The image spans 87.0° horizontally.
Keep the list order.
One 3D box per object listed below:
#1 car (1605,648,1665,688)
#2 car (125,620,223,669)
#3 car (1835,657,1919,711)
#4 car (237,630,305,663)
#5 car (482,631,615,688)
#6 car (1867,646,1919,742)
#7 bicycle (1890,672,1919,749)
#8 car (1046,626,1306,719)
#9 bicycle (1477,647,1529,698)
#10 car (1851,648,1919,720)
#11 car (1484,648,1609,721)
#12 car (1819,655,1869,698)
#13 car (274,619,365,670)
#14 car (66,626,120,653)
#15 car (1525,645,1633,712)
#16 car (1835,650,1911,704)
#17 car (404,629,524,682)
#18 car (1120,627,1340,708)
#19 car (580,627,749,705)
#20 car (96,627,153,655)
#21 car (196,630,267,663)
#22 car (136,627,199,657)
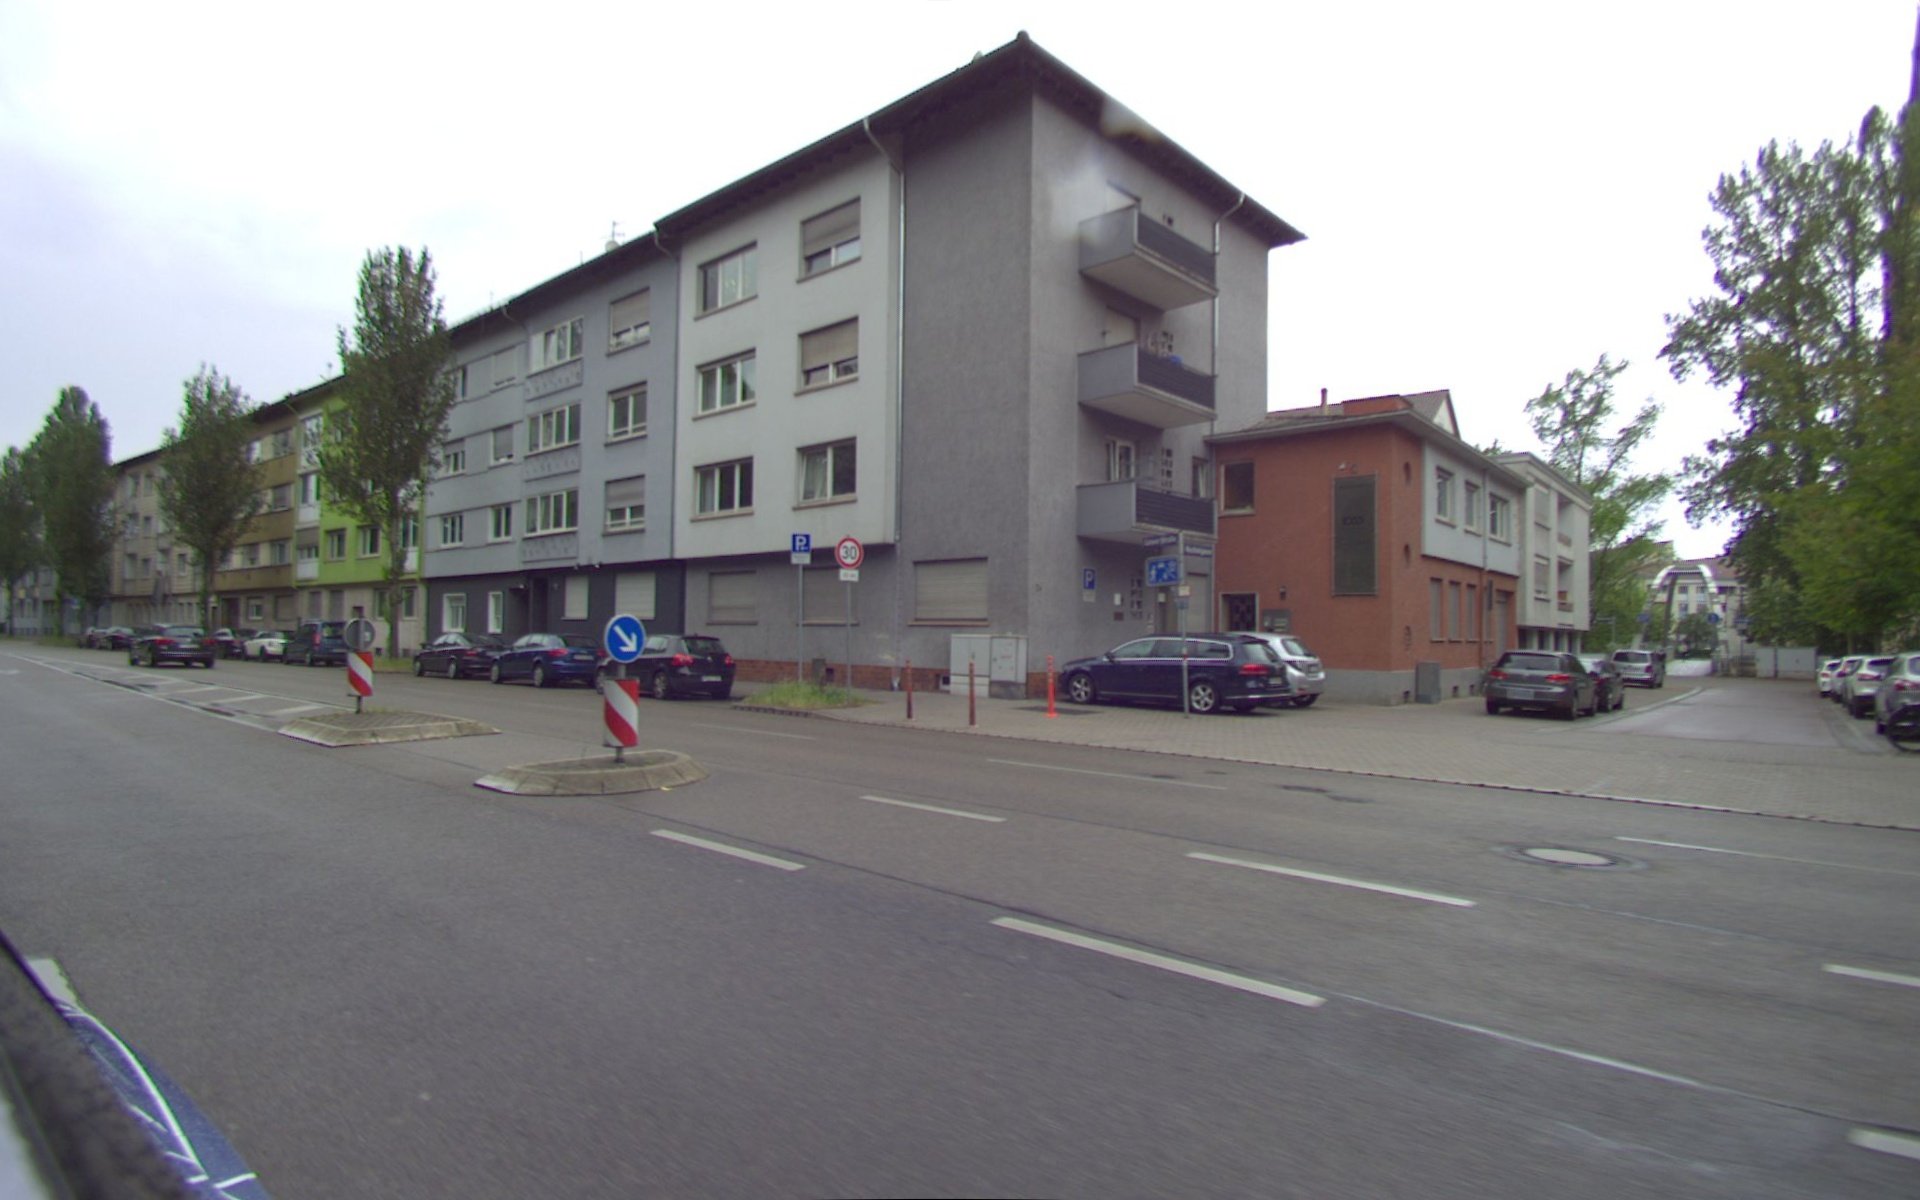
[{"bbox_3d":[30.148,3.020,45.155,1.850,1.674,3.800,-1,-3,39],"label":"car"},{"bbox_3d":[-26.659,1.521,34.292,4.288,1.527,1.792,-2,-5,42],"label":"car"},{"bbox_3d":[27.677,2.470,30.278,1.997,1.486,3.949,-1,-3,38],"label":"car"},{"bbox_3d":[-29.703,2.007,43.594,3.446,1.388,1.527,-2,-4,41],"label":"car"},{"bbox_3d":[-11.130,1.563,27.275,3.924,1.394,1.704,-1,-3,41],"label":"car"},{"bbox_3d":[17.793,1.635,18.140,1.899,1.604,3.949,-3,-4,37],"label":"car"},{"bbox_3d":[14.318,1.572,14.087,1.930,1.066,0.526,-1,-3,33],"label":"bicycle"},{"bbox_3d":[4.057,1.301,19.556,4.633,1.497,1.831,0,0,42],"label":"car"},{"bbox_3d":[16.371,2.165,30.461,0.861,1.441,2.722,-1,-4,39],"label":"bicycle"},{"bbox_3d":[23.931,2.097,25.660,1.850,1.674,3.800,-1,-3,39],"label":"car"},{"bbox_3d":[13.405,1.868,23.010,1.903,1.423,3.948,1,-3,38],"label":"car"},{"bbox_3d":[35.289,3.027,40.446,1.239,1.609,3.082,-1,-3,37],"label":"car"},{"bbox_3d":[-25.377,1.710,40.034,4.313,1.884,1.880,-1,-2,41],"label":"car"},{"bbox_3d":[-54.620,2.473,63.734,4.170,1.612,1.844,-1,-3,40],"label":"car"},{"bbox_3d":[16.410,2.035,26.741,1.923,1.497,3.948,3,-1,39],"label":"car"},{"bbox_3d":[31.927,2.667,35.481,1.784,1.728,3.655,-1,-3,39],"label":"car"},{"bbox_3d":[-15.298,1.690,31.138,4.313,1.492,1.704,-1,-5,41],"label":"car"},{"bbox_3d":[5.685,1.382,21.603,4.227,1.537,1.711,-1,-3,42],"label":"car"},{"bbox_3d":[-6.920,1.450,23.490,4.246,1.556,1.827,-1,0,42],"label":"car"},{"bbox_3d":[-49.544,2.410,59.998,4.170,1.579,1.844,-1,-3,40],"label":"car"},{"bbox_3d":[-33.570,2.135,46.581,4.248,1.356,1.528,-1,-4,39],"label":"car"},{"bbox_3d":[-42.591,2.242,54.372,3.997,1.524,1.844,-1,-3,40],"label":"car"}]
